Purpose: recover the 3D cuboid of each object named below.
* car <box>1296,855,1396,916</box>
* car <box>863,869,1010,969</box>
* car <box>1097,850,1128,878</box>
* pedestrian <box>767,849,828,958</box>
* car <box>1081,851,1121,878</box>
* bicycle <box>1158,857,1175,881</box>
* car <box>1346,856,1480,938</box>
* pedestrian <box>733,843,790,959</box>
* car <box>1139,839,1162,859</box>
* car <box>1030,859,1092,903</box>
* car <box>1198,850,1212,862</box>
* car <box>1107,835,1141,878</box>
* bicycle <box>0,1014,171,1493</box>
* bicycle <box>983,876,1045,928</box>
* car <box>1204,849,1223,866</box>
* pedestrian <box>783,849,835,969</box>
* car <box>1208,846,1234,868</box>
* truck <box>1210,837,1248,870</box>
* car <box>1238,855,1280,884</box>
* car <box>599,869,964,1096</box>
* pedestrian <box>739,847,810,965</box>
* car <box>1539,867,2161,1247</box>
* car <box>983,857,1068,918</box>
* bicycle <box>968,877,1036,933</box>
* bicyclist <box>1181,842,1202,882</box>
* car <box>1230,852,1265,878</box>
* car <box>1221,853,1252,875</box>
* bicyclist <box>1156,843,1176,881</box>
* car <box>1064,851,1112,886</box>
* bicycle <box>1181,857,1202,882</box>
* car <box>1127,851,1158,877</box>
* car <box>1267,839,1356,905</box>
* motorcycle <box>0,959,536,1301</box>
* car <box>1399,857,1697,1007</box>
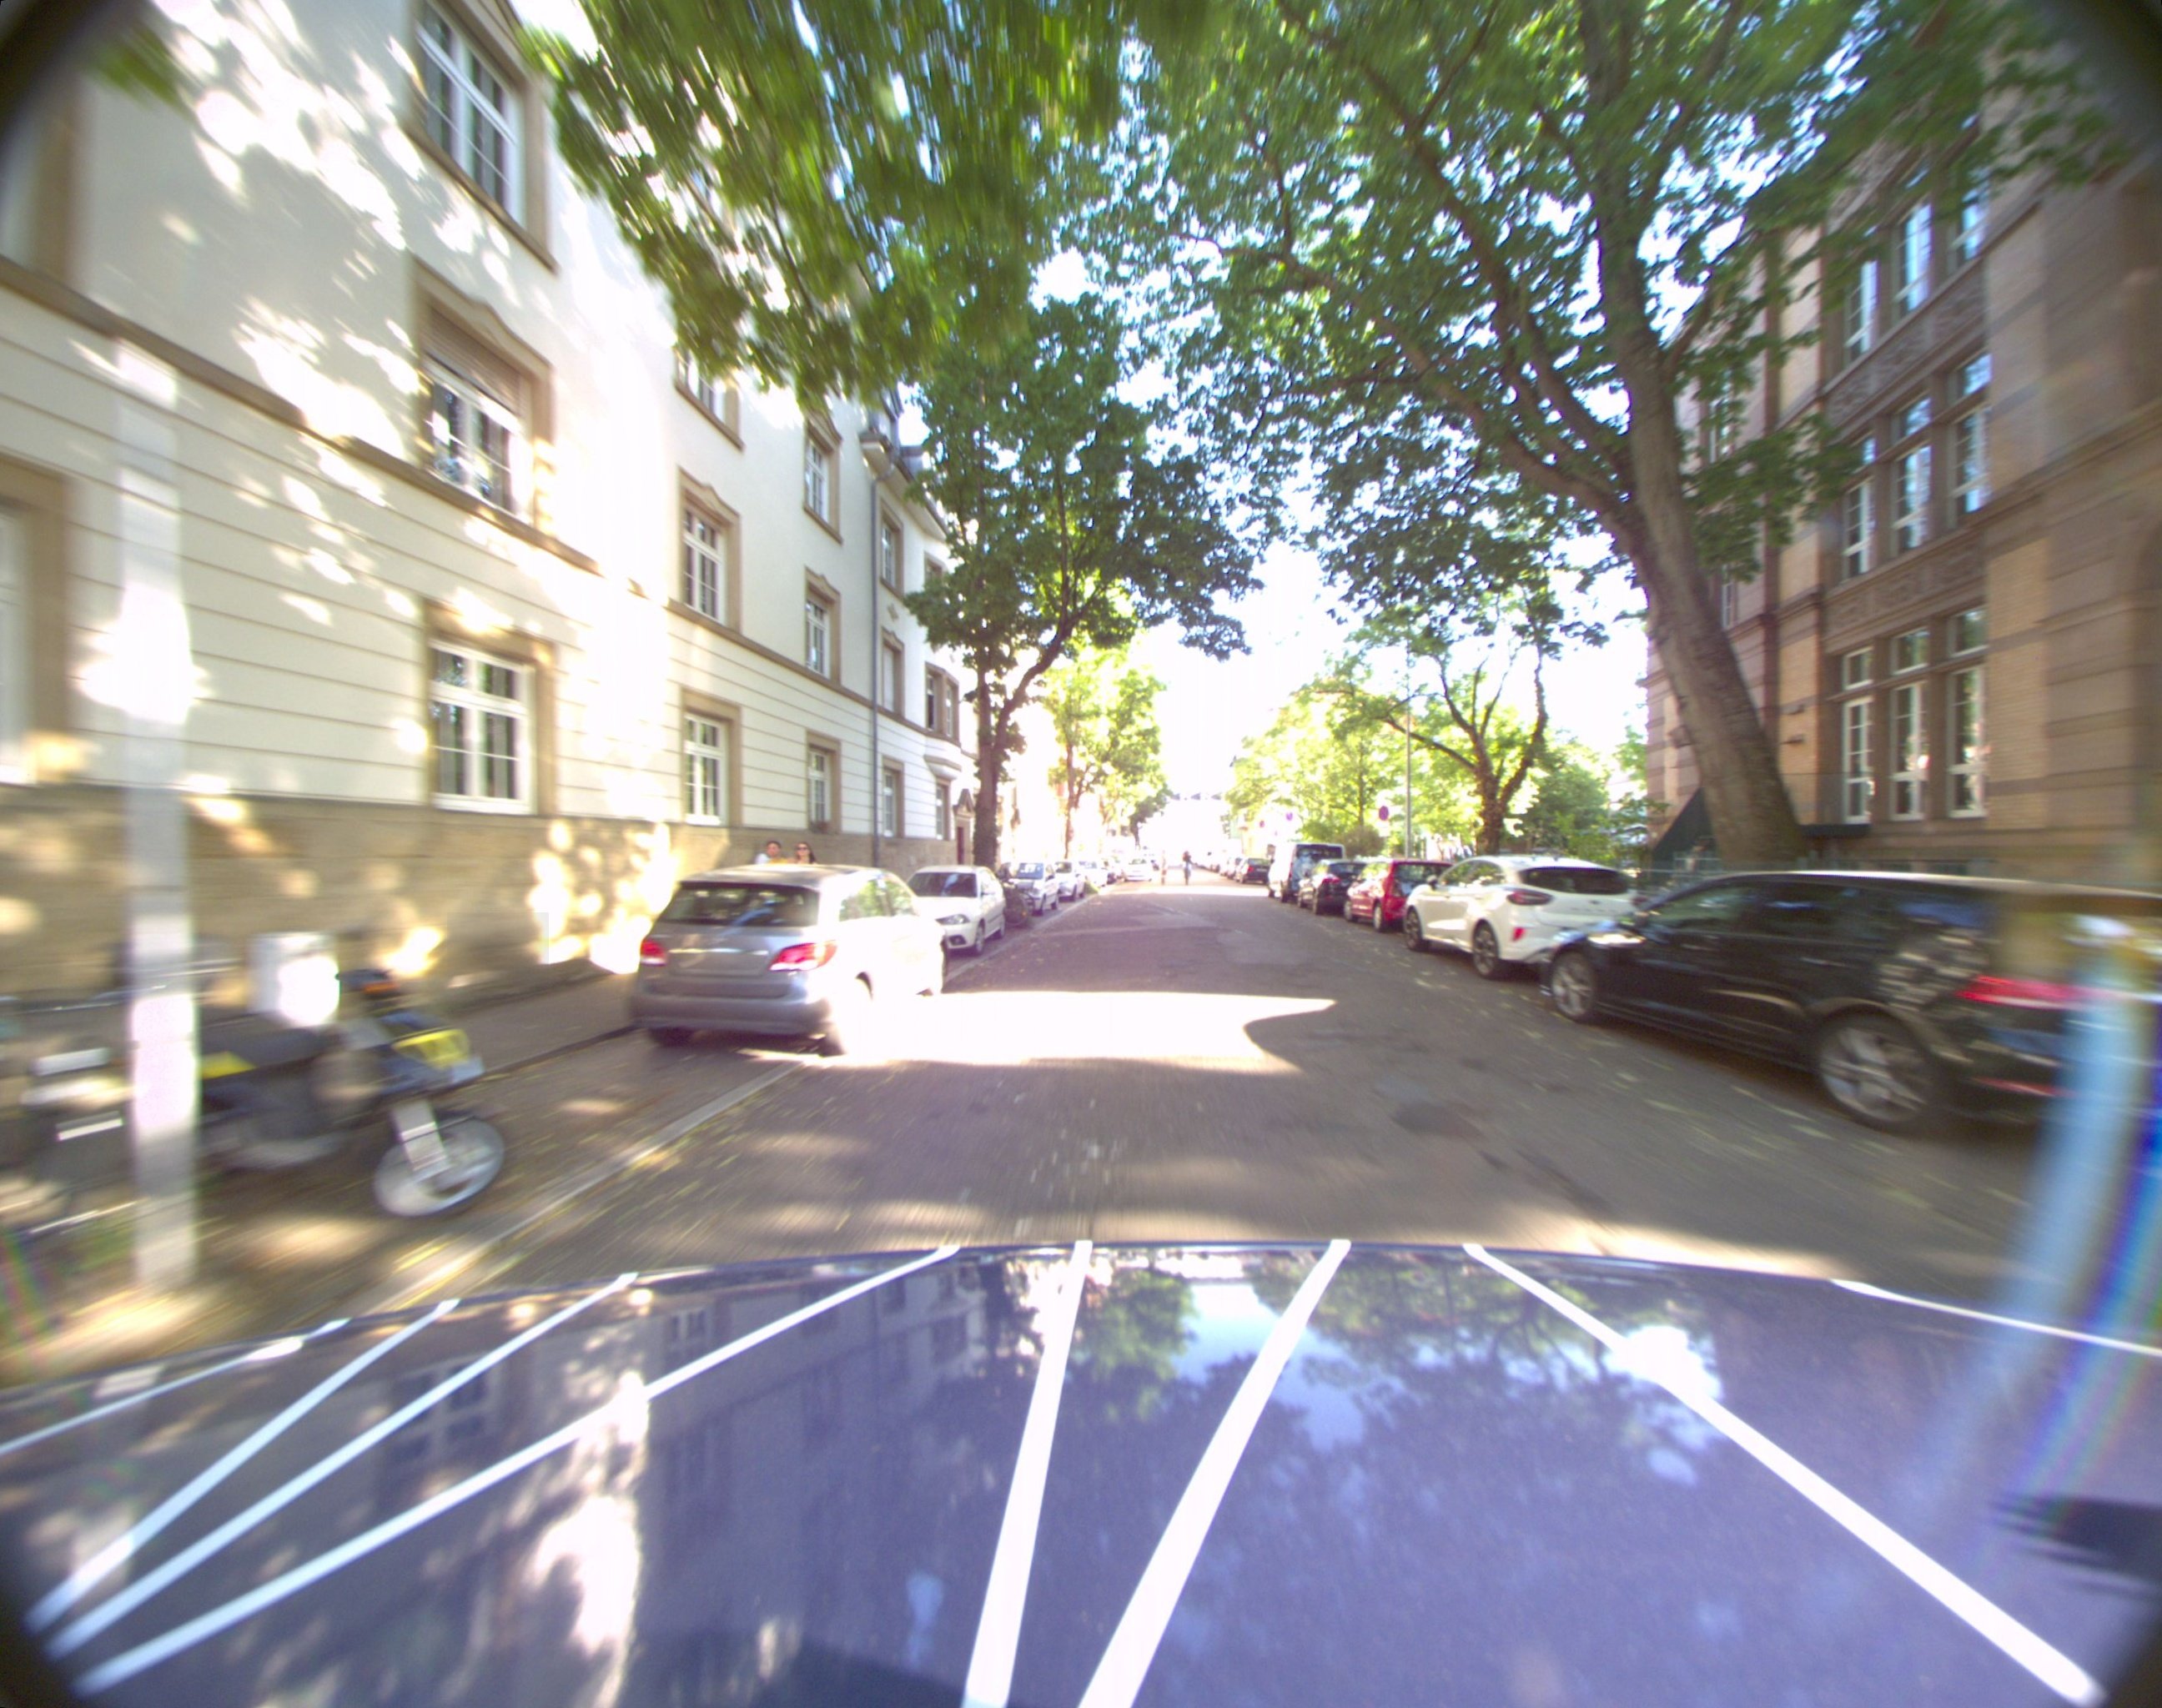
[{"bbox_3d":[6.992,0.764,20.403,1.730,1.455,3.846,1,0,7],"label":"car"},{"bbox_3d":[-2.348,1.012,13.318,1.727,1.399,3.856,0,0,2],"label":"car"},{"bbox_3d":[2.069,0.593,48.538,1.659,1.674,4.085,-1,0,7],"label":"car"},{"bbox_3d":[-4.926,0.834,13.246,0.706,1.834,0.840,-1,1,1],"label":"pedestrian"},{"bbox_3d":[1.152,0.528,42.081,1.811,1.412,4.002,-1,0,7],"label":"car"},{"bbox_3d":[4.208,0.729,37.508,0.810,1.136,2.548,0,0,7],"label":"bicycle"},{"bbox_3d":[6.659,0.794,15.602,1.623,1.455,3.312,1,0,7],"label":"car"},{"bbox_3d":[-5.167,0.738,12.310,0.528,1.834,0.707,0,1,8],"label":"pedestrian"},{"bbox_3d":[6.974,-0.491,76.200,2.145,2.002,4.866,-1,0,7],"label":"car"},{"bbox_3d":[-0.646,0.910,27.355,1.650,1.433,4.002,-1,0,7],"label":"car"},{"bbox_3d":[16.306,0.259,100.000,1.596,1.557,4.002,0,0,6],"label":"car"},{"bbox_3d":[3.308,0.138,57.661,1.997,2.983,6.242,-3,0,7],"label":"car"},{"bbox_3d":[-3.842,1.219,2.590,1.794,1.155,0.434,1,1,23],"label":"bicycle"},{"bbox_3d":[-1.575,1.135,17.941,1.414,1.188,0.336,-1,1,4],"label":"bicycle"},{"bbox_3d":[14.693,0.355,84.227,1.808,1.791,4.192,0,0,6],"label":"car"},{"bbox_3d":[-3.948,0.778,11.040,0.519,1.708,0.517,-1,1,5],"label":"pedestrian"},{"bbox_3d":[13.350,0.250,72.797,2.145,2.002,4.811,-1,0,6],"label":"car"},{"bbox_3d":[12.409,-0.064,64.186,2.394,2.641,7.096,0,0,5],"label":"truck"},{"bbox_3d":[9.383,0.775,40.234,1.738,1.456,4.002,0,0,7],"label":"car"},{"bbox_3d":[-2.544,0.973,7.648,1.684,1.531,4.136,1,0,6],"label":"car"},{"bbox_3d":[-4.512,0.745,11.233,0.624,1.675,0.819,-1,1,6],"label":"pedestrian"},{"bbox_3d":[5.182,0.940,5.237,1.585,1.456,3.999,3,2,1],"label":"car"},{"bbox_3d":[-1.480,0.883,21.635,1.638,1.523,4.002,-1,0,7],"label":"car"},{"bbox_3d":[-1.717,1.102,16.536,1.414,1.188,0.336,-1,1,4],"label":"bicycle"},{"bbox_3d":[5.420,0.376,37.357,0.966,1.904,1.140,0,1,7],"label":"bicyclist"},{"bbox_3d":[10.151,0.632,46.541,1.754,1.464,4.002,-2,0,7],"label":"car"},{"bbox_3d":[10.728,0.676,52.586,1.787,1.450,4.210,-1,0,7],"label":"car"},{"bbox_3d":[4.201,0.389,37.439,0.933,1.809,1.078,0,1,7],"label":"bicyclist"},{"bbox_3d":[0.404,0.652,35.886,1.823,1.521,4.002,-1,0,7],"label":"car"},{"bbox_3d":[5.420,0.738,37.387,0.985,1.136,2.548,0,0,7],"label":"bicycle"},{"bbox_3d":[3.716,0.573,45.385,1.653,1.449,4.002,-1,0,7],"label":"car"},{"bbox_3d":[7.681,0.534,25.844,1.997,1.946,5.045,2,1,7],"label":"car"},{"bbox_3d":[-3.638,1.158,3.441,1.854,1.205,0.679,2,-1,4],"label":"motorcycle"},{"bbox_3d":[5.900,0.848,10.263,1.792,1.524,4.002,3,0,6],"label":"car"}]
